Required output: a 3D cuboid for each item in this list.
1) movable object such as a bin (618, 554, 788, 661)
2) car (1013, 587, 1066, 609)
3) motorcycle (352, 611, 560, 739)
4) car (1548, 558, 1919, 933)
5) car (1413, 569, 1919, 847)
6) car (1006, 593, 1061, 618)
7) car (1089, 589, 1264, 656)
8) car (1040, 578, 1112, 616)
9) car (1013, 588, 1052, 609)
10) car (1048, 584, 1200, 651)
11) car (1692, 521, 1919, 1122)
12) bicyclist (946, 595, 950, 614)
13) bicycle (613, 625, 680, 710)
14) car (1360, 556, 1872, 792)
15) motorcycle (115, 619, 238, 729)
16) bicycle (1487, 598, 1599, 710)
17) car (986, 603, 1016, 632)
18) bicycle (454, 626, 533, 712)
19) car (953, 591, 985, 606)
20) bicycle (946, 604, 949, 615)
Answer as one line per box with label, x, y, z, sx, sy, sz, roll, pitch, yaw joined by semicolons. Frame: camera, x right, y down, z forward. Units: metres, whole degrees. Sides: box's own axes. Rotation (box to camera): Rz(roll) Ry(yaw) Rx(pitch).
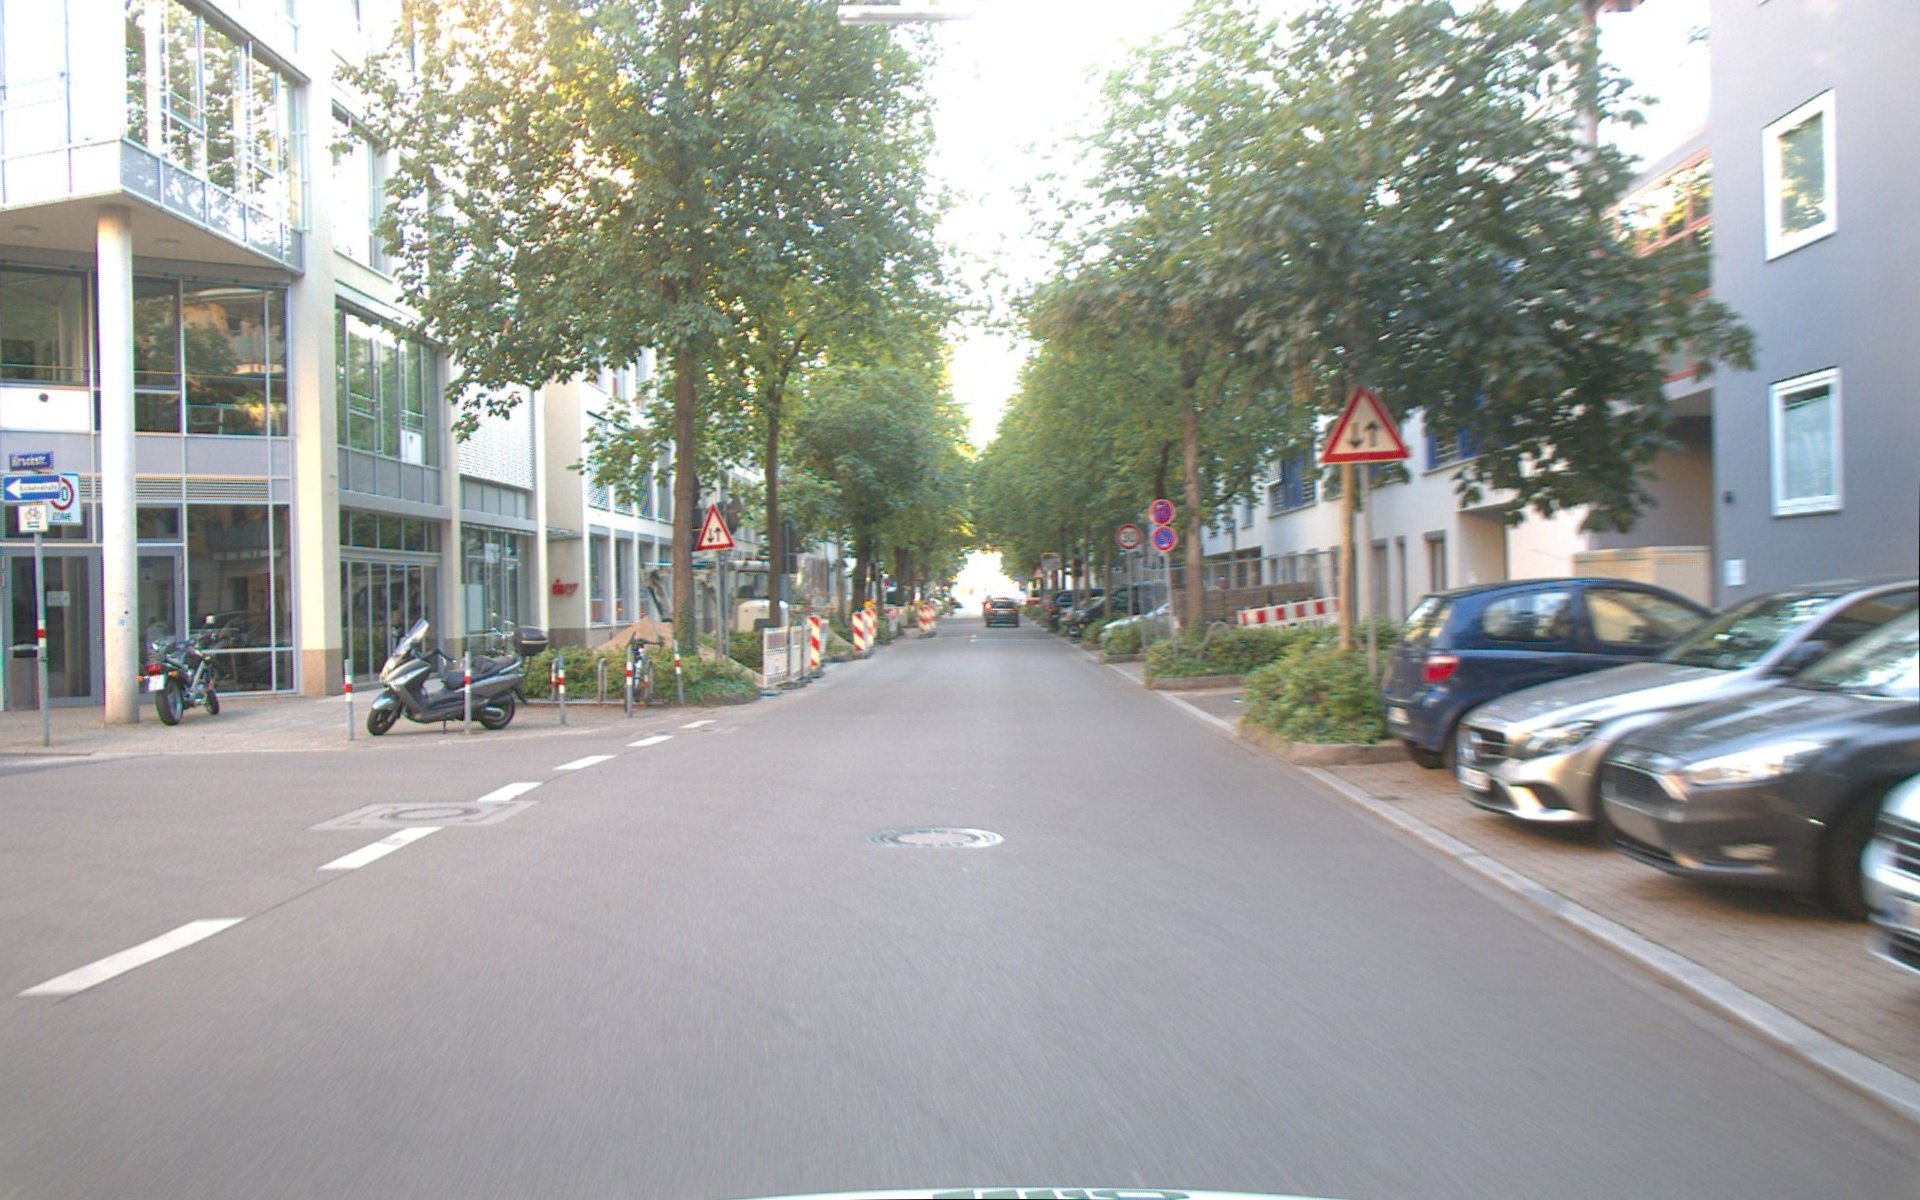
movable object such as a bin;-5.996;0.174;39.067;3.591;2.373;2.583;-1;0;-1
car;6.092;-0.177;126.905;3.907;1.625;1.999;-1;0;-3
motorcycle;-6.269;0.898;20.669;2.357;1.466;0.790;-1;0;-40
car;5.194;0.593;8.059;3.985;1.590;1.853;-1;0;-2
car;5.261;0.587;10.513;4.199;1.534;1.869;-1;0;-8
car;6.590;0.519;148.640;4.869;2.124;1.738;-1;0;0
car;5.559;0.574;42.801;4.344;1.619;1.629;-1;0;3
car;6.543;-0.148;93.862;3.905;2.049;2.000;-1;0;0
car;7.493;-0.127;170.801;3.904;2.049;2.001;-1;0;2
car;5.422;0.570;55.072;4.869;2.124;1.738;-1;0;0
car;5.102;0.601;5.306;4.699;1.734;1.836;-1;0;-2
bicyclist;-0.920;0.368;124.367;0.272;1.415;0.435;0;1;-1
bicycle;-4.595;0.974;24.340;0.588;1.137;1.800;-1;1;1
car;5.024;0.539;13.013;3.281;1.552;1.746;-3;0;1
motorcycle;-10.340;0.945;21.914;0.601;1.296;2.126;-1;1;0
bicycle;6.814;0.606;19.400;0.711;1.192;1.500;-5;0;2
car;2.107;0.899;85.908;1.469;1.441;3.714;-1;0;1
bicycle;-6.777;0.980;24.093;0.588;1.137;1.800;-1;1;1
car;1.152;-0.180;212.546;3.911;1.948;1.774;-1;0;-7
bicycle;-0.917;0.697;124.421;0.223;0.774;1.101;-1;0;-1
